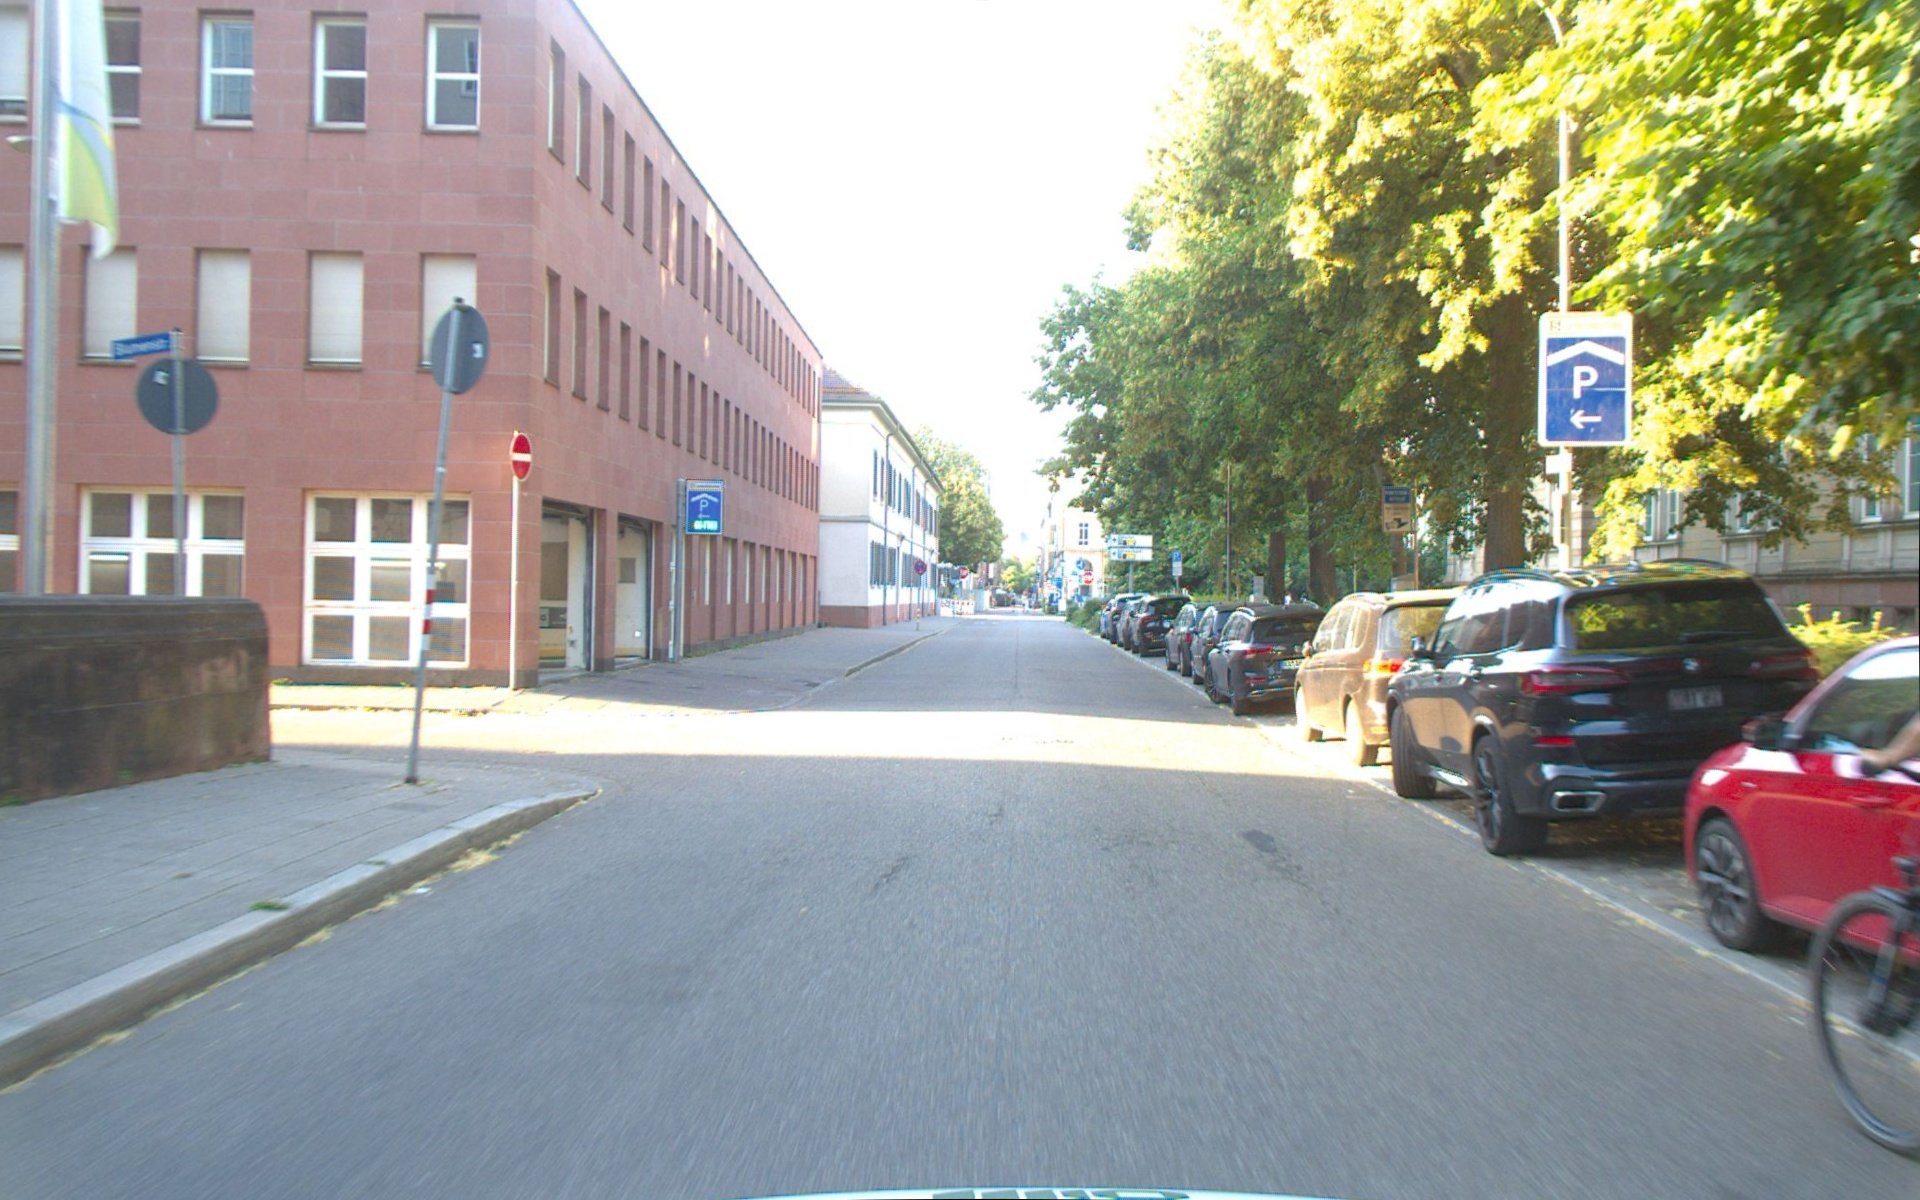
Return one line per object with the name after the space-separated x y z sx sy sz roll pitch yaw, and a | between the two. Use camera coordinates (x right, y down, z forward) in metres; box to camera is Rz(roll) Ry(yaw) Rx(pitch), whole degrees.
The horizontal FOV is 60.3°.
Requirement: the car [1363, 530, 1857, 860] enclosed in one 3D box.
4.260 0.561 11.800 1.767 1.845 4.948 0 -1 2 | car

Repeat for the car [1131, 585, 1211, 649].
5.842 0.480 46.182 1.769 1.680 4.419 0 -1 2 | car

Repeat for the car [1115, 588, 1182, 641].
5.794 0.464 51.216 1.688 1.565 4.190 0 -1 2 | car

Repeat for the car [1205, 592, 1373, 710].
4.742 0.709 24.429 1.688 1.560 4.624 0 -1 2 | car

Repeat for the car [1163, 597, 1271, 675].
5.359 0.734 34.991 1.699 1.533 4.523 0 -1 2 | car

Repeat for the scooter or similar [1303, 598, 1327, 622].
19.368 0.553 90.272 1.196 1.267 0.417 1 0 -15 | scooter or similar

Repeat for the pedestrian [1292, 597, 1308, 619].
18.572 0.453 90.282 0.650 1.212 0.794 0 0 30 | pedestrian

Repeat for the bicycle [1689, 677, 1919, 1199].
2.752 0.899 4.288 0.736 1.274 2.210 0 0 0 | bicycle

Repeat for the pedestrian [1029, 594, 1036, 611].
7.279 0.261 165.461 0.644 1.645 0.745 1 0 2 | pedestrian

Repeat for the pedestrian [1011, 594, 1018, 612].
5.506 0.281 167.734 0.644 1.790 0.745 1 0 3 | pedestrian

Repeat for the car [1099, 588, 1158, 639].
5.795 0.471 57.157 1.688 1.680 4.714 0 -1 2 | car

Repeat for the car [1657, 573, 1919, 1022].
4.301 0.719 6.210 1.688 1.616 3.969 0 -1 0 | car

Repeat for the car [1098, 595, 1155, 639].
6.346 0.636 63.289 1.688 1.514 4.611 -3 0 1 | car

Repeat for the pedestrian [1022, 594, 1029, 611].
6.555 0.250 165.525 0.644 1.645 0.745 1 0 2 | pedestrian

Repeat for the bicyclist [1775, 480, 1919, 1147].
2.731 0.524 4.269 0.736 1.641 1.038 0 0 0 | bicyclist

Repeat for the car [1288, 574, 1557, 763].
4.664 0.645 17.337 1.688 1.712 4.500 0 -1 2 | car

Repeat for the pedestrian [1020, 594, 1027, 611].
6.461 0.231 167.798 0.644 1.664 0.745 1 0 2 | pedestrian

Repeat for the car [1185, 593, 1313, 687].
5.121 0.693 29.792 1.688 1.560 4.190 0 -1 2 | car
